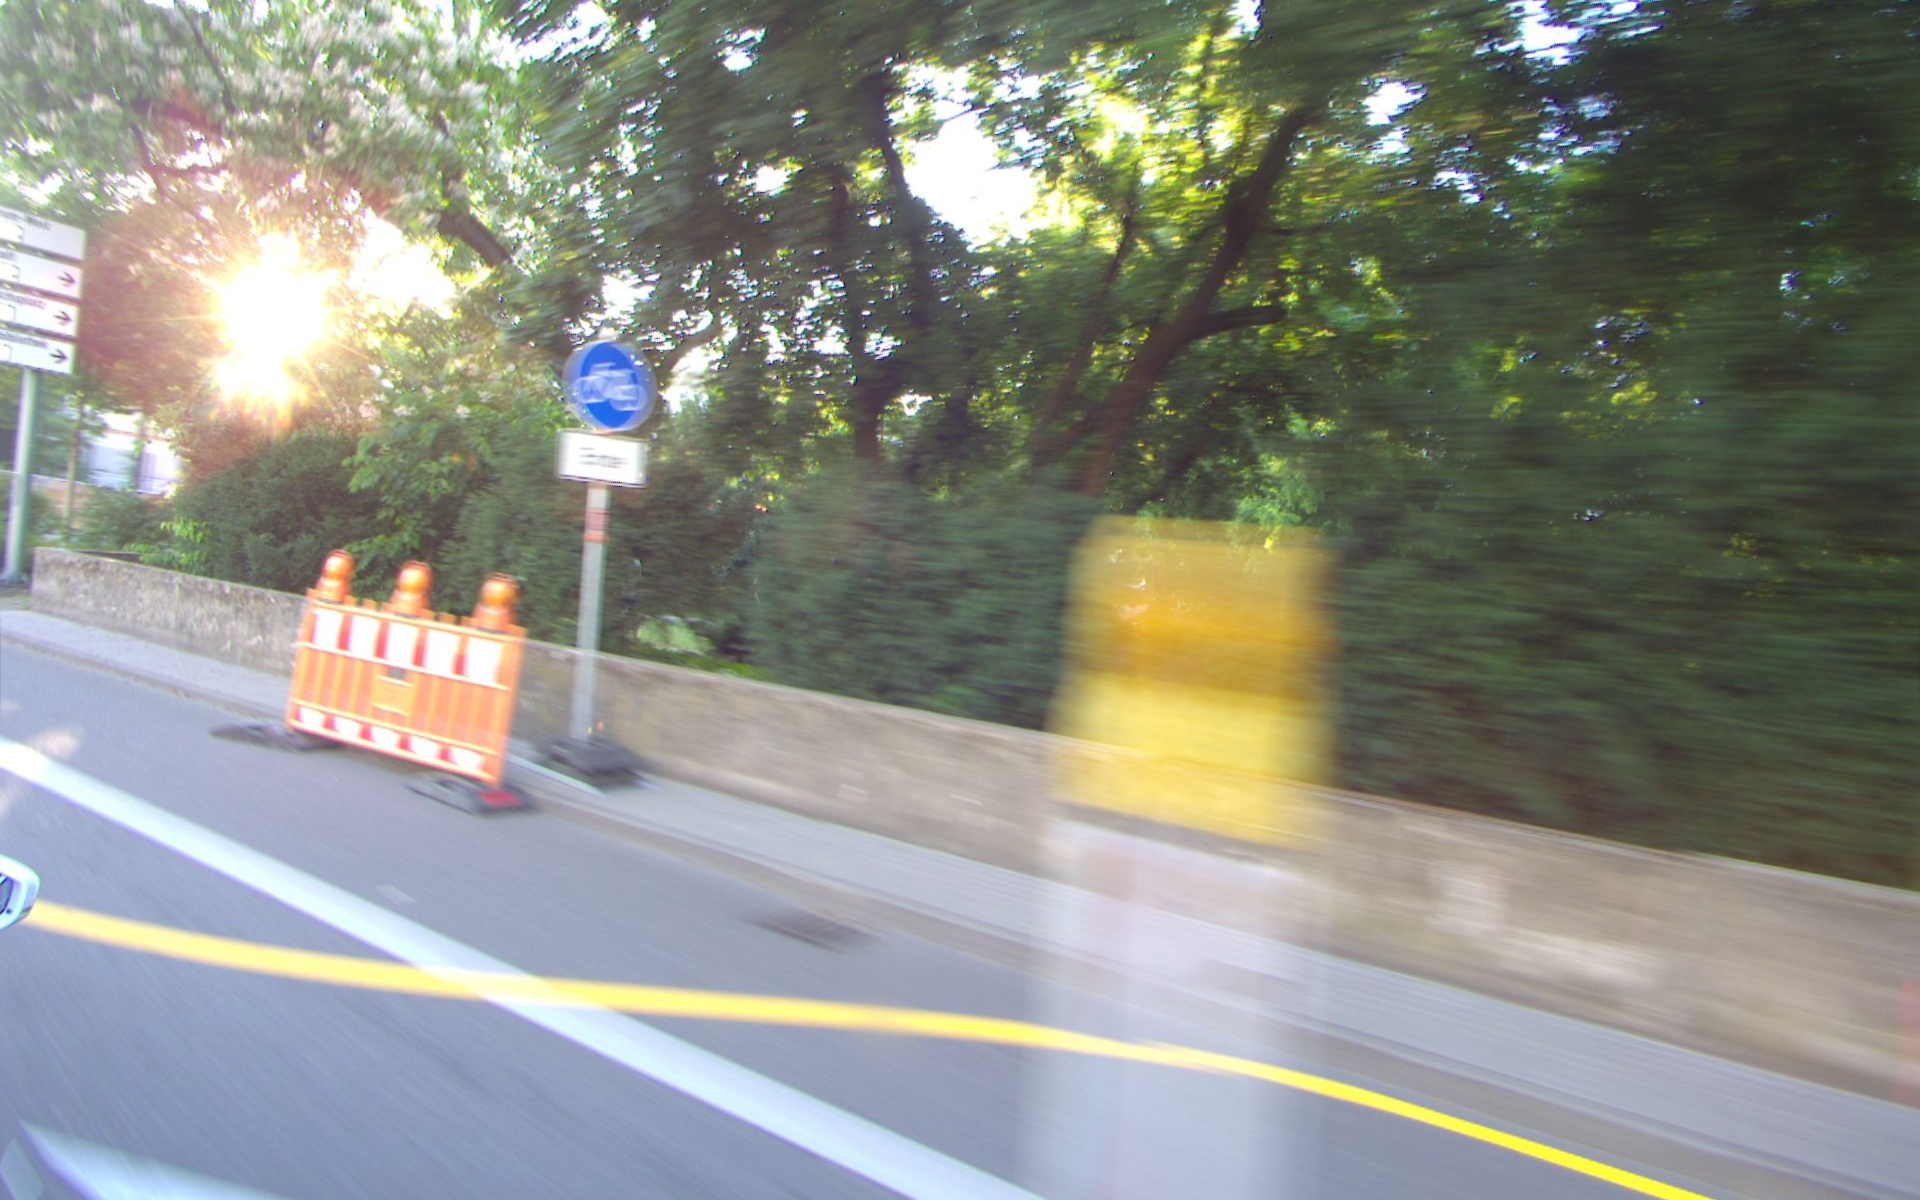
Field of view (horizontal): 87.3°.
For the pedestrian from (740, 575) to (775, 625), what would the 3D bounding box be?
[{"bbox_3d":[-7.049,0.007,34.998,0.808,1.643,0.830,6,-1,-32],"label":"pedestrian"}]
